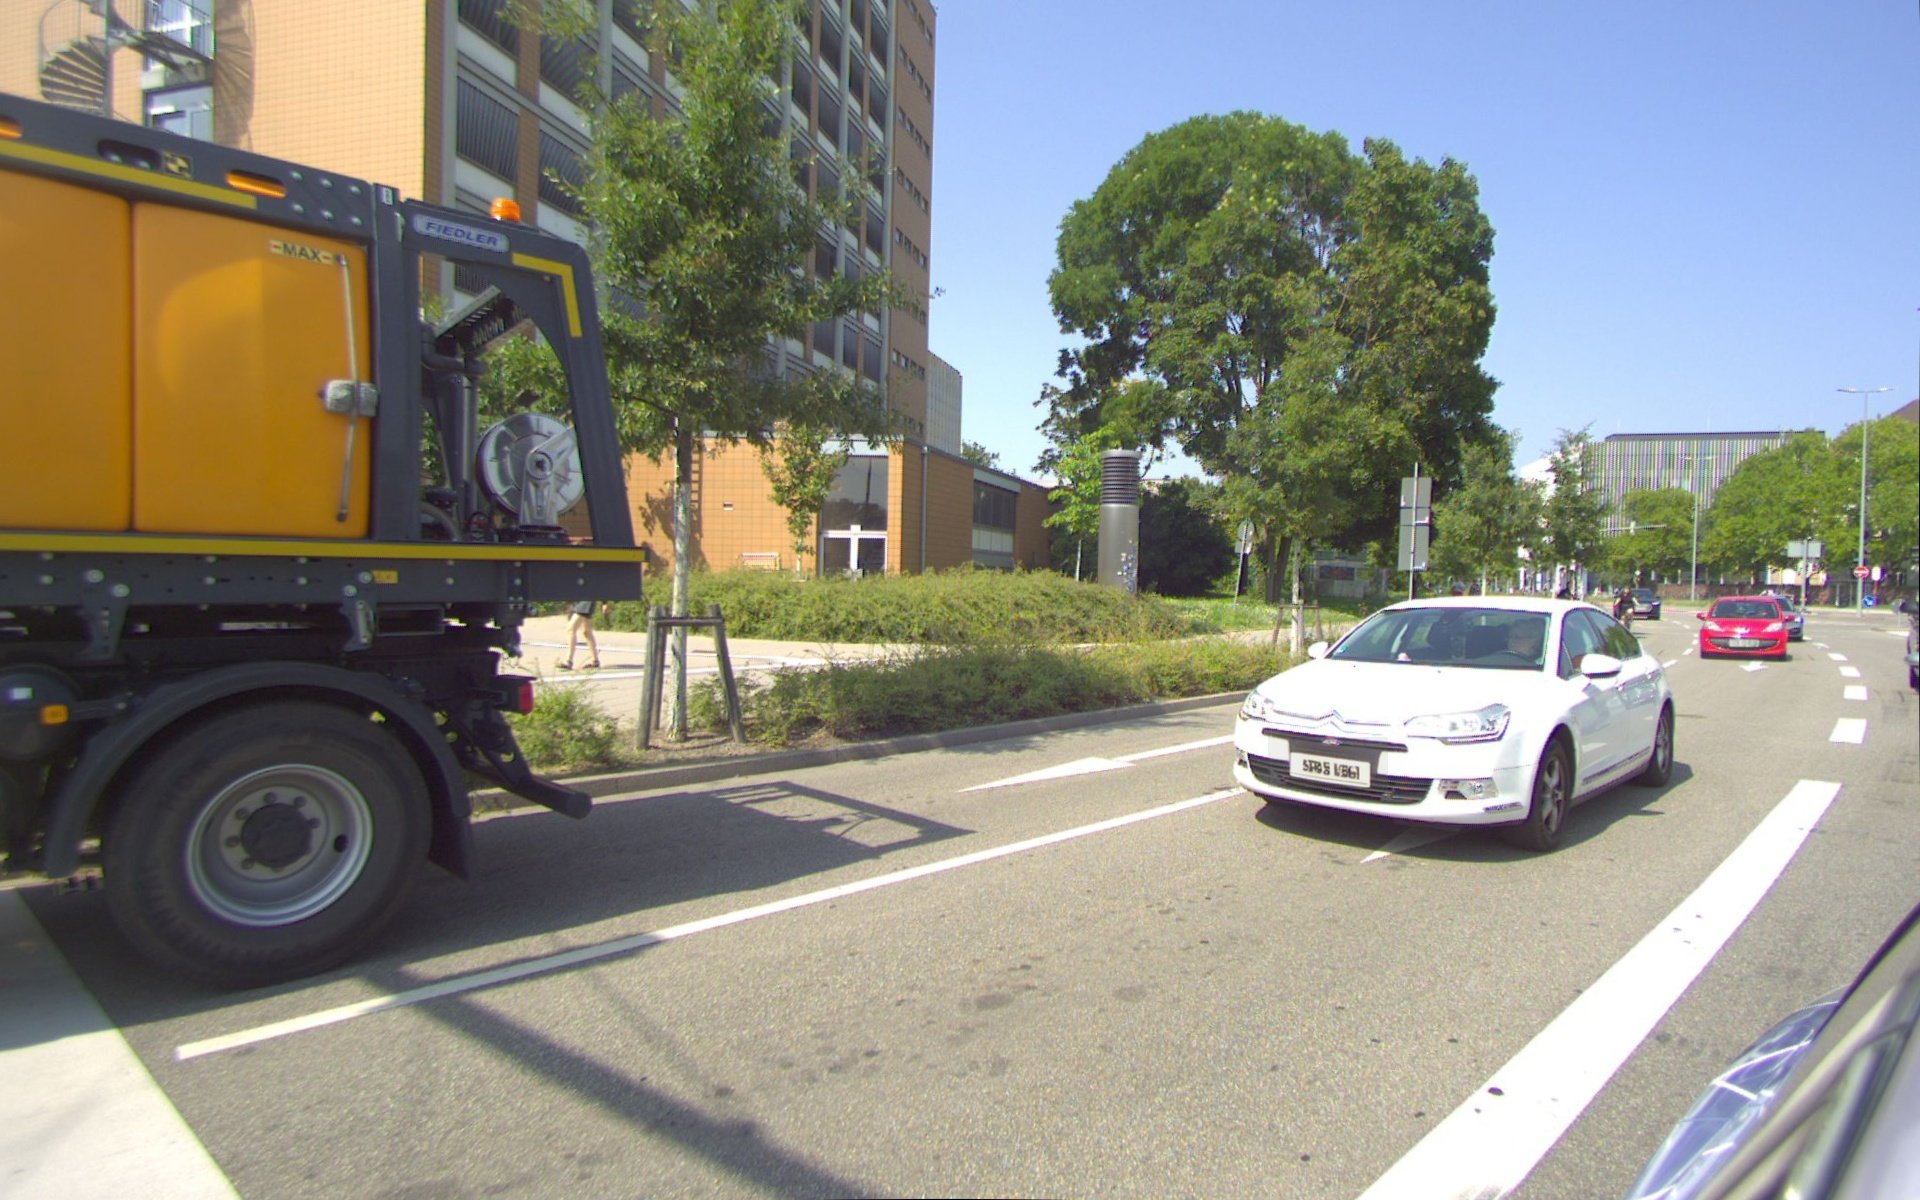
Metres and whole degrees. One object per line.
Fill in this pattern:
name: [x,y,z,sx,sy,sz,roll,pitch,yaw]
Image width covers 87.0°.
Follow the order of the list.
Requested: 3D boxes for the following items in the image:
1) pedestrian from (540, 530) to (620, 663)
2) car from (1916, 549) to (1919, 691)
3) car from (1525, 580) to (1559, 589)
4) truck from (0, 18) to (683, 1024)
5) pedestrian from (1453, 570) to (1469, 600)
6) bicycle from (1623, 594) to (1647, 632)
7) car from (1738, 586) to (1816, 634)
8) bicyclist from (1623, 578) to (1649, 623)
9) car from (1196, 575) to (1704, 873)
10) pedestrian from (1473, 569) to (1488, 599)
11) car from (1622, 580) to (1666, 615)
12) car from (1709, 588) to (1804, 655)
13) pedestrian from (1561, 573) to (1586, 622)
pedestrian: [-5.091,-0.058,13.548,0.793,1.720,0.671,0,1,-44]
car: [15.336,0.265,14.843,1.885,1.943,4.463,1,1,43]
car: [93.607,-2.486,162.827,4.348,1.405,1.767,0,0,9]
truck: [-4.636,-0.270,3.418,6.744,3.173,2.496,-1,2,-42]
pedestrian: [22.286,-0.685,44.994,0.629,1.315,0.482,-1,0,29]
bicycle: [22.035,0.410,33.068,0.590,1.183,2.209,2,2,33]
car: [25.937,0.279,32.205,1.554,1.412,3.212,2,2,33]
bicyclist: [22.050,-0.001,33.033,0.675,1.417,1.037,2,1,34]
car: [3.723,0.578,7.219,4.533,1.446,1.771,-1,2,-44]
pedestrian: [22.954,-0.702,44.634,0.571,1.315,0.433,-1,0,28]
car: [35.858,-0.156,53.028,1.800,1.682,3.950,3,2,35]
car: [19.019,0.450,24.110,1.644,1.449,3.760,1,1,41]
pedestrian: [24.848,-0.105,40.963,0.817,1.926,0.623,2,1,33]
